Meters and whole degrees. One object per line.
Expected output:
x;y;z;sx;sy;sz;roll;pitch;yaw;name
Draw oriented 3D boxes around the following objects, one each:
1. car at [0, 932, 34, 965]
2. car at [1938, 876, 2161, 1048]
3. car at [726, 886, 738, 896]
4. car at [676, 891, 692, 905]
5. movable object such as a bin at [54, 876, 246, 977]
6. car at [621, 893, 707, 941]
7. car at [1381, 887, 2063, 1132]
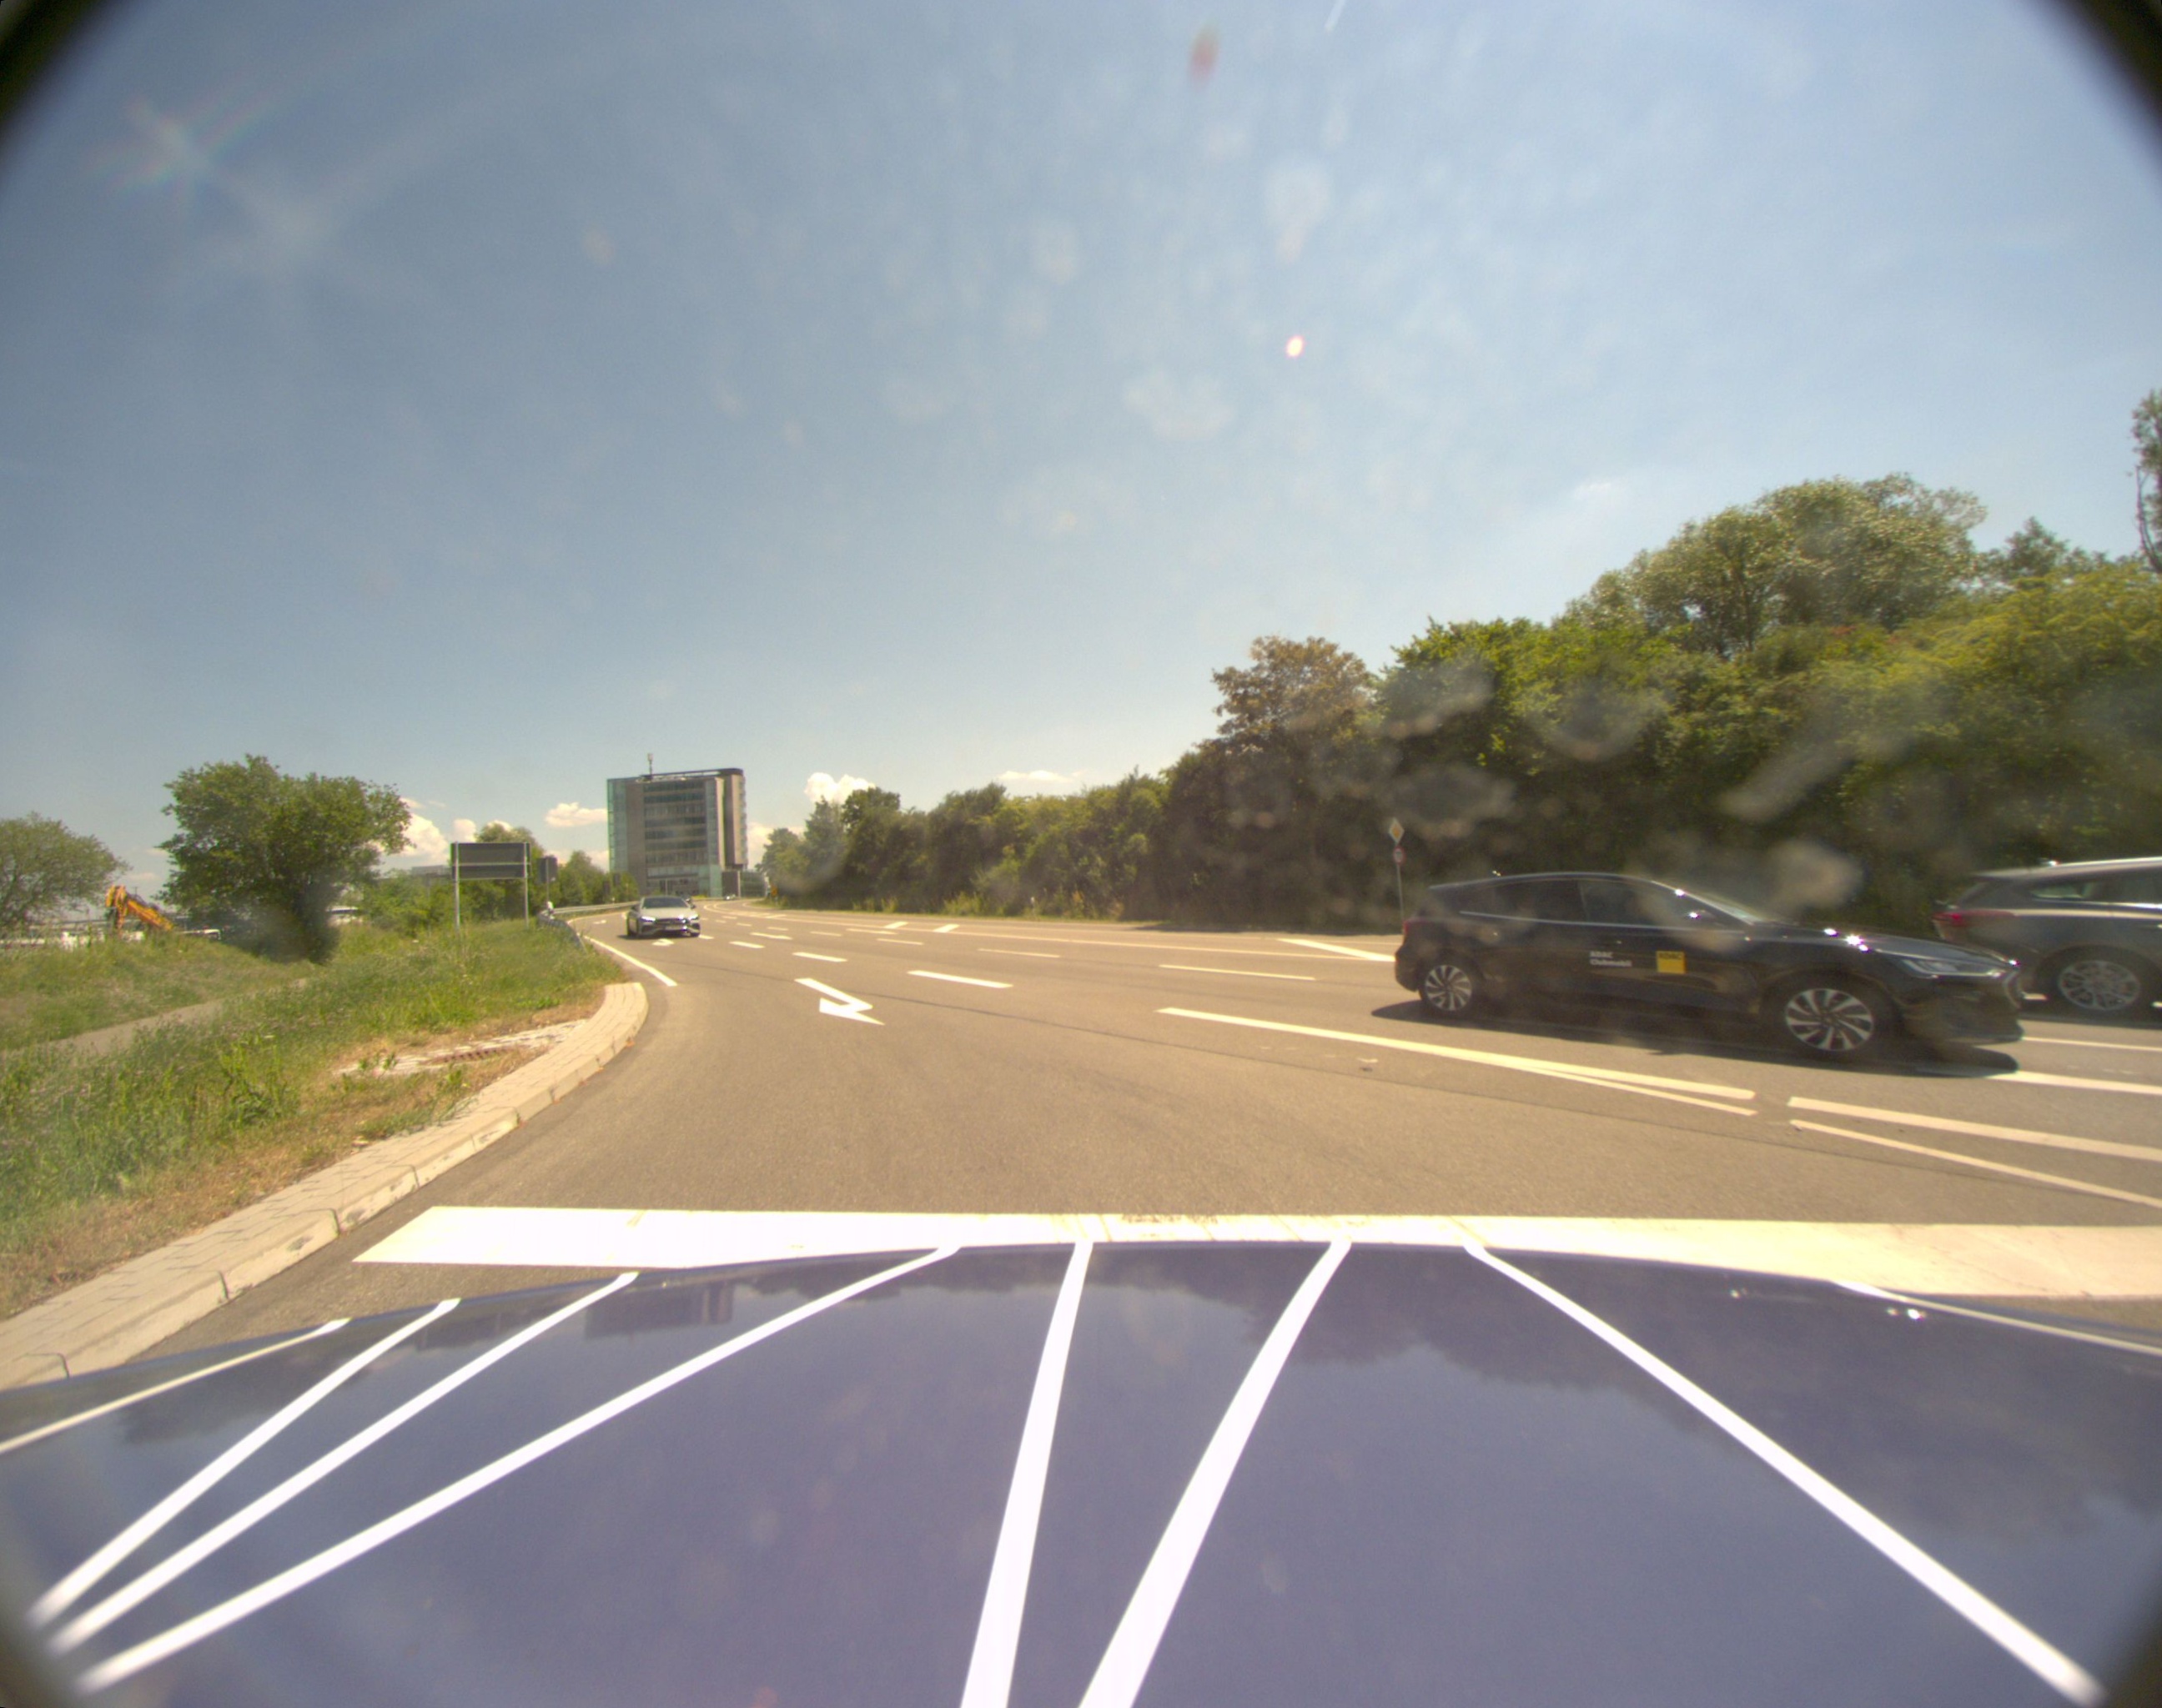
-58.000;5.036;39.453;2.000;1.630;3.998;0;-1;-8;car
10.409;0.894;6.220;1.743;1.433;4.381;0;-2;-39;car
-74.717;7.929;162.650;2.002;2.001;3.994;0;-1;-18;car
-61.025;6.749;116.773;2.003;2.001;3.991;0;-1;-31;car
-42.103;3.046;34.799;2.993;4.020;8.086;0;-1;-31;movable object such as a bin
-14.629;2.123;26.528;1.927;1.433;4.470;1;-2;-38;car
5.176;1.070;6.790;1.743;1.433;4.288;0;-3;-40;car
